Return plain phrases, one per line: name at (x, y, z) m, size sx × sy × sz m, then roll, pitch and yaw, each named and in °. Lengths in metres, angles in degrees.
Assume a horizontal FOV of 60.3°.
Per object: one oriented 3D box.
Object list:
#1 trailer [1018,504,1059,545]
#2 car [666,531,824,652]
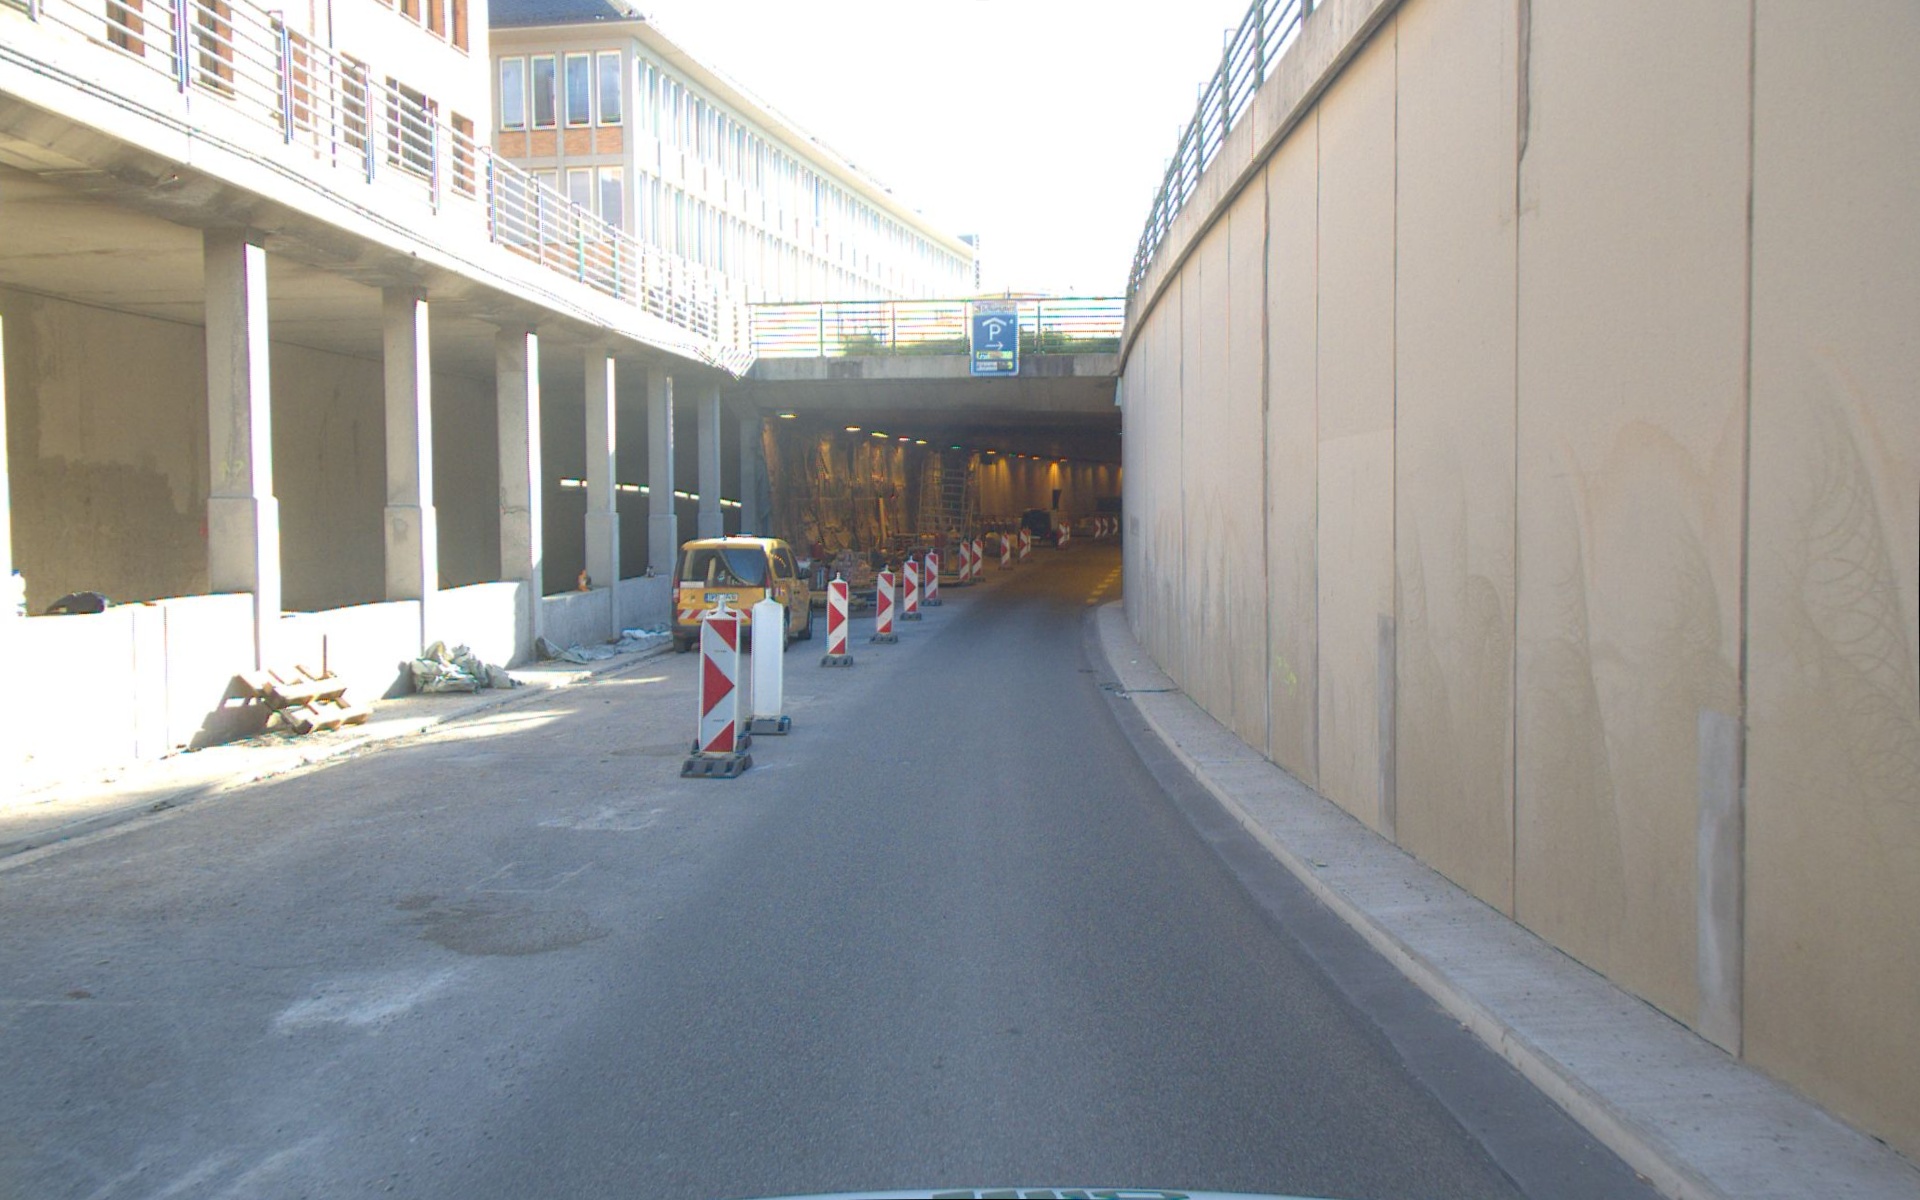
trailer at (3.724, -3.569, 77.877) m, size 1.547 × 1.829 × 2.943 m, roll 1°, pitch 4°, yaw 10°
car at (-3.483, -0.224, 27.574) m, size 1.809 × 1.806 × 4.438 m, roll 0°, pitch 3°, yaw 3°
